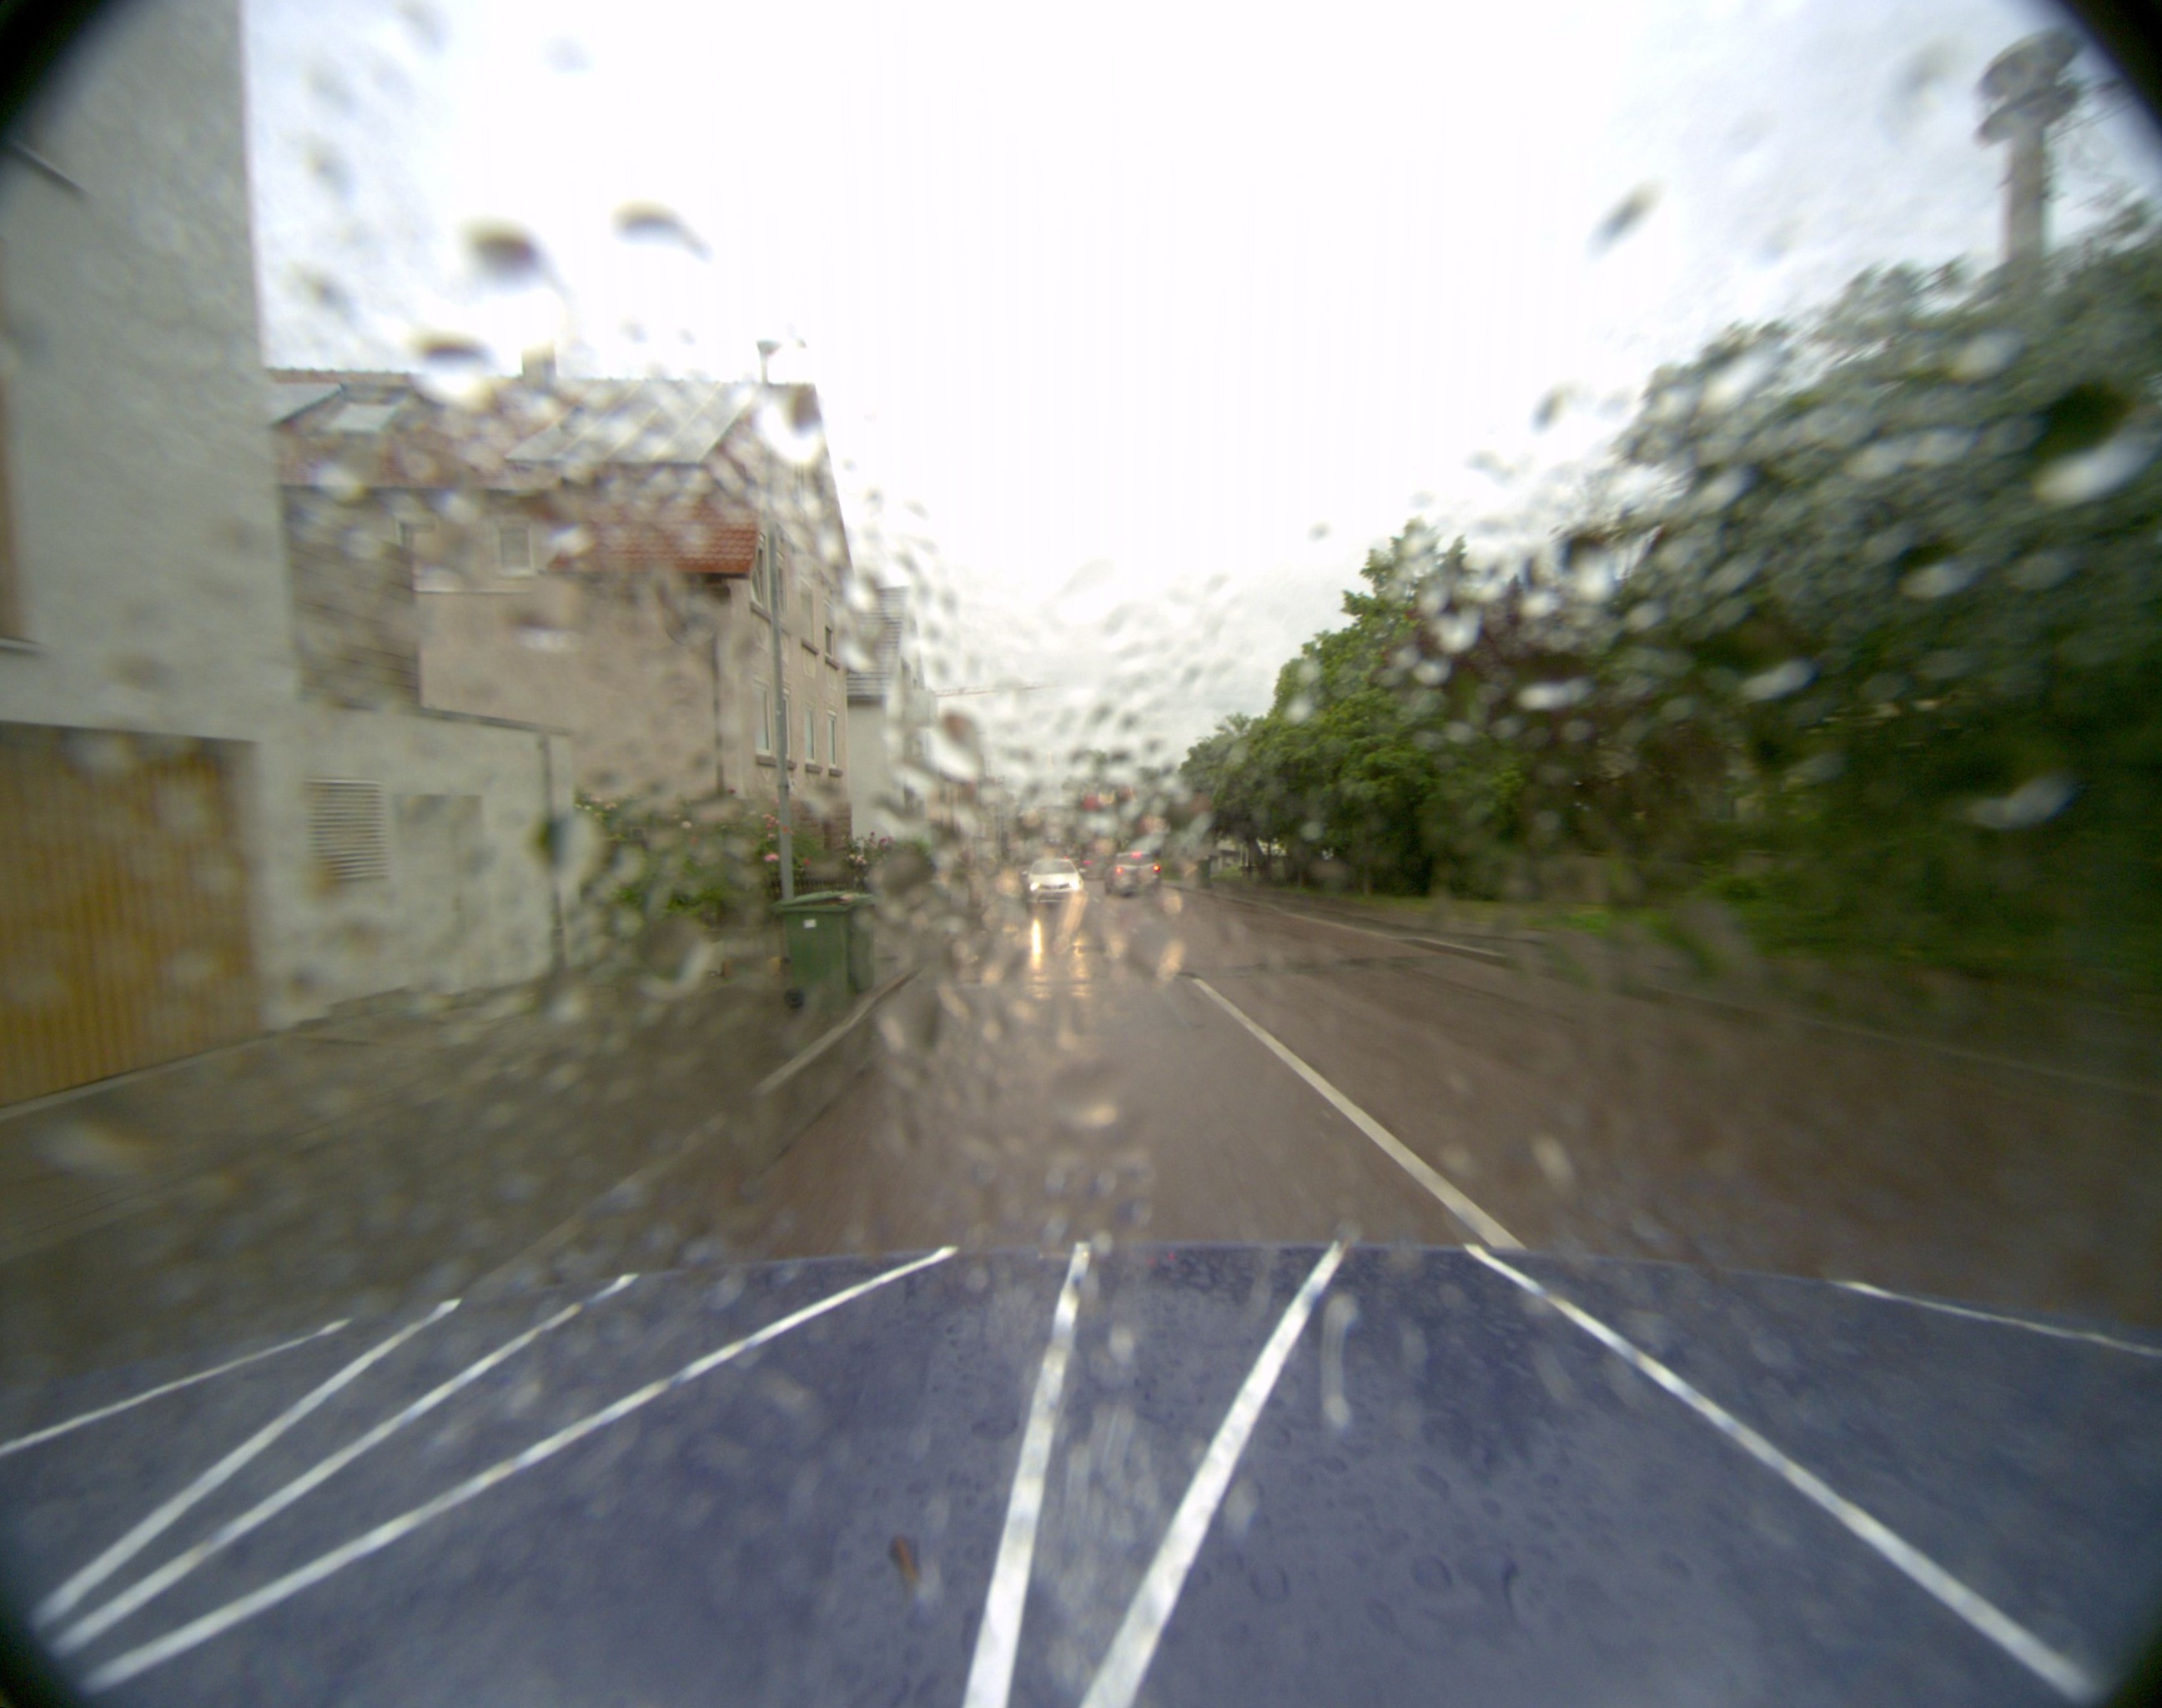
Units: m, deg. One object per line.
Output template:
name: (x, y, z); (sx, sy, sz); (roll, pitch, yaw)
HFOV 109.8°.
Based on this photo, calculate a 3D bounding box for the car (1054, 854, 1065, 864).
car: (-3.359, 0.811, 120.400); (1.565, 1.446, 4.083); (-2, 0, -3)

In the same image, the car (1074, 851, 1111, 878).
car: (0.702, 0.652, 48.926); (1.923, 1.614, 4.361); (-2, 0, -4)

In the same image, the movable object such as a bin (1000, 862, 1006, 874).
movable object such as a bin: (-6.670, 1.160, 64.927); (0.381, 1.012, 0.487); (-2, 1, -3)

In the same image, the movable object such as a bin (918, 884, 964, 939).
movable object such as a bin: (-2.914, 1.188, 15.894); (0.798, 1.064, 0.761); (-2, 1, -1)

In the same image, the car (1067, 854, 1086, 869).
car: (-0.462, 0.737, 74.940); (1.623, 1.432, 3.736); (-2, 0, -4)

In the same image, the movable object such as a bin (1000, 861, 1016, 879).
movable object such as a bin: (-4.621, 1.043, 48.352); (0.916, 1.097, 0.702); (-2, 1, -1)

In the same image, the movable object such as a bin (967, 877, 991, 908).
movable object such as a bin: (-3.116, 1.180, 23.329); (0.632, 0.892, 0.712); (-2, 1, -3)

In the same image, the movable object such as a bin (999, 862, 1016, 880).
movable object such as a bin: (-4.602, 1.045, 47.604); (0.916, 1.097, 0.702); (-2, 1, -1)

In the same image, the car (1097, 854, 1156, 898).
car: (1.695, 0.792, 29.614); (1.809, 1.544, 3.828); (-2, 0, -3)

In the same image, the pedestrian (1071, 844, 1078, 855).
pedestrian: (-1.031, -0.804, 125.831); (0.971, 1.820, 0.894); (-2, 1, -12)

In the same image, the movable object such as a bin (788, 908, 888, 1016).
movable object such as a bin: (-2.672, 1.172, 8.441); (0.838, 1.054, 0.749); (-2, 1, -2)

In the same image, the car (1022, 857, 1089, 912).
car: (-0.799, 0.883, 23.812); (1.859, 1.427, 4.015); (-3, 1, -2)

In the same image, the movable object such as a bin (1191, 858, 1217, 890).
movable object such as a bin: (4.527, 0.733, 27.973); (0.722, 1.093, 0.757); (-3, 1, -3)
